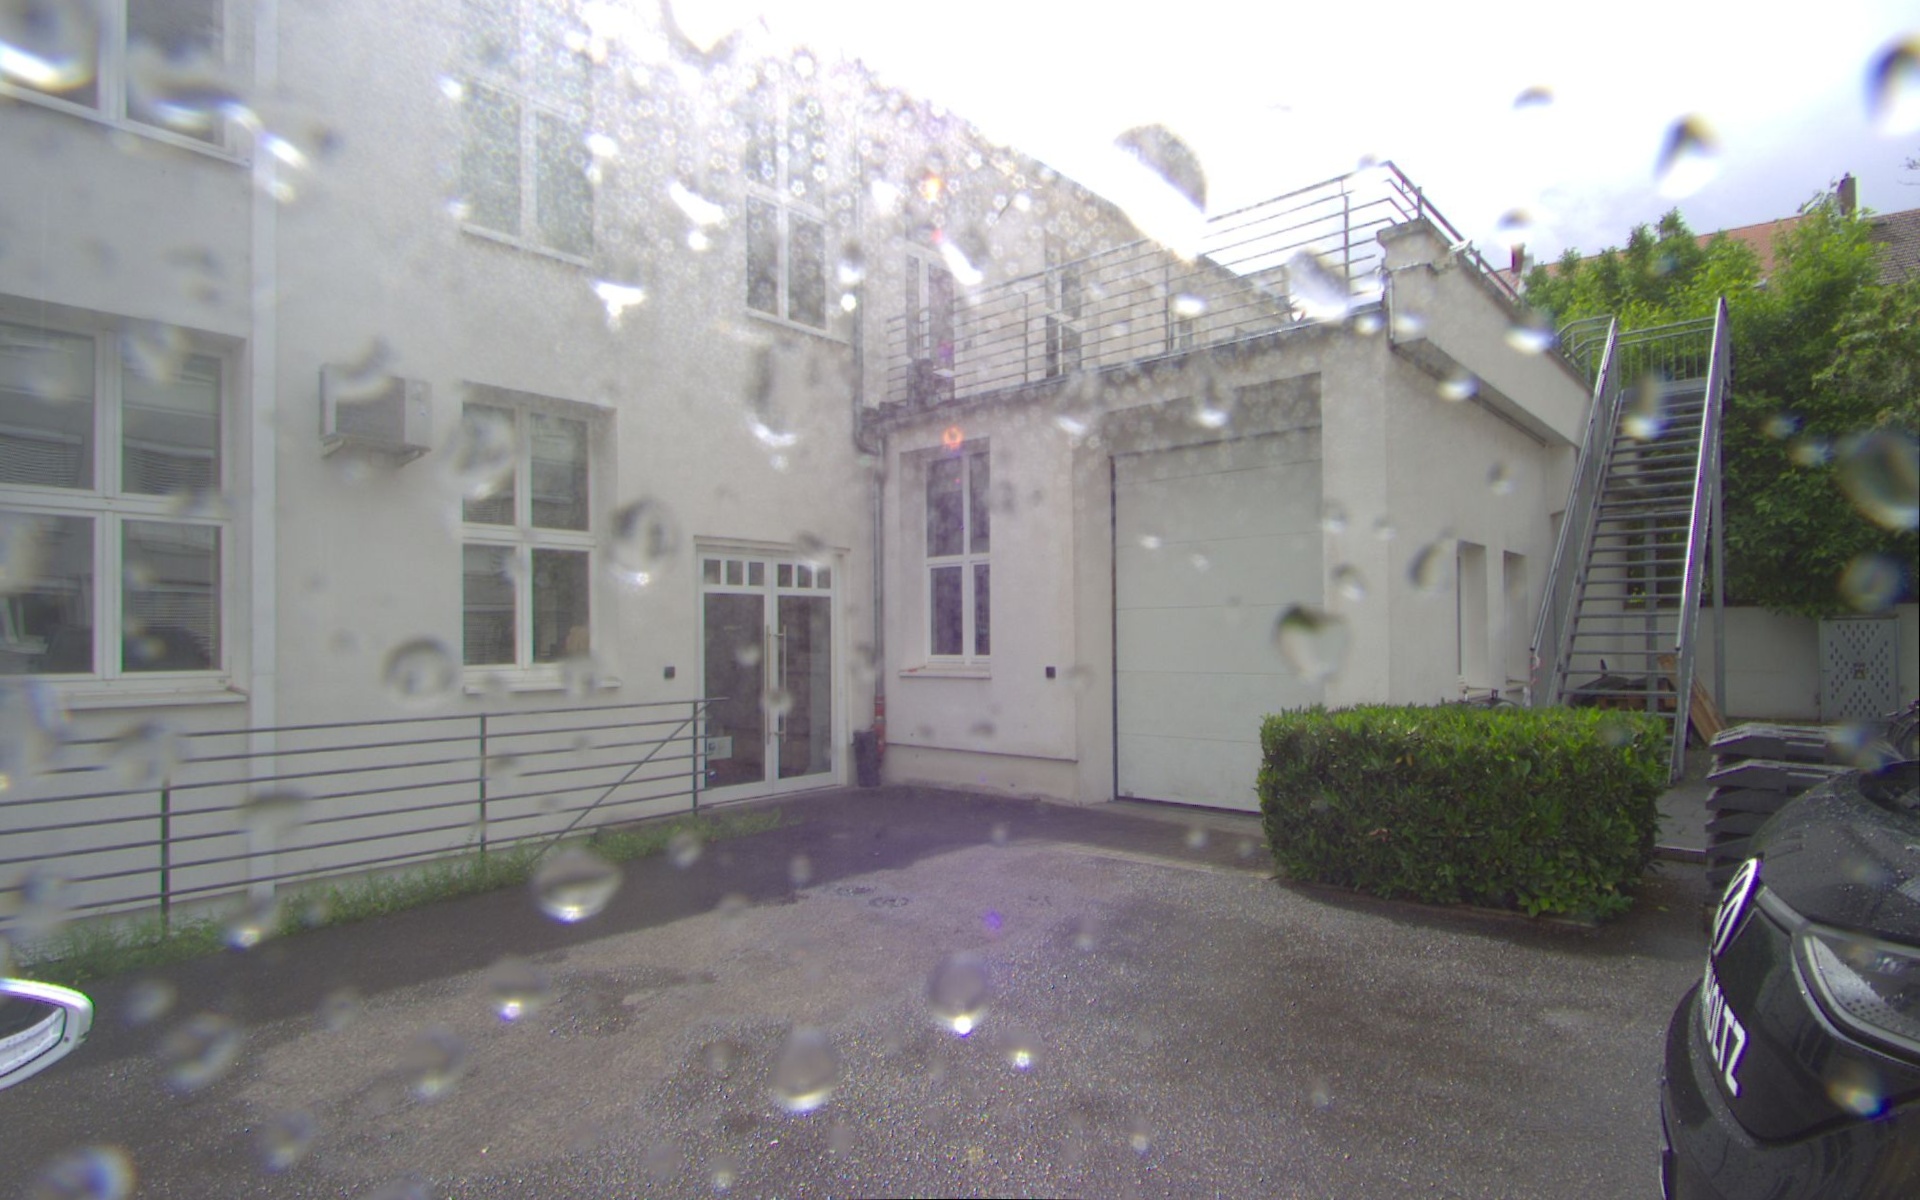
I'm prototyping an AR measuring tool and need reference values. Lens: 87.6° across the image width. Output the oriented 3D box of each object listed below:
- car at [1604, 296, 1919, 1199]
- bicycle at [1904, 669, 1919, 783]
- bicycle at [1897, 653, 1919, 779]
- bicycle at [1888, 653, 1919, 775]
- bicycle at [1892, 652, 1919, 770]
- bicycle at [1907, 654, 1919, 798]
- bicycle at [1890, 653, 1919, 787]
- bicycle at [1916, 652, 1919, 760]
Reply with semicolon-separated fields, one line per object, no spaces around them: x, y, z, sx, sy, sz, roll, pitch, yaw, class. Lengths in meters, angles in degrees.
3.294;0.549;0.705;4.685;1.888;1.959;-3;-3;35;car
9.149;1.084;8.379;1.773;0.980;0.328;-2;-1;36;bicycle
9.334;1.028;8.667;1.732;1.118;0.331;-2;-1;36;bicycle
9.526;1.041;8.969;1.732;1.118;0.340;-2;-1;36;bicycle
9.872;1.054;9.302;1.732;1.118;0.343;-2;-1;36;bicycle
8.276;0.976;7.439;1.778;1.118;0.402;-2;-1;44;bicycle
8.740;1.004;8.097;1.778;1.118;0.351;-2;-1;44;bicycle
10.617;1.076;9.828;1.732;1.118;0.340;-2;-1;36;bicycle
